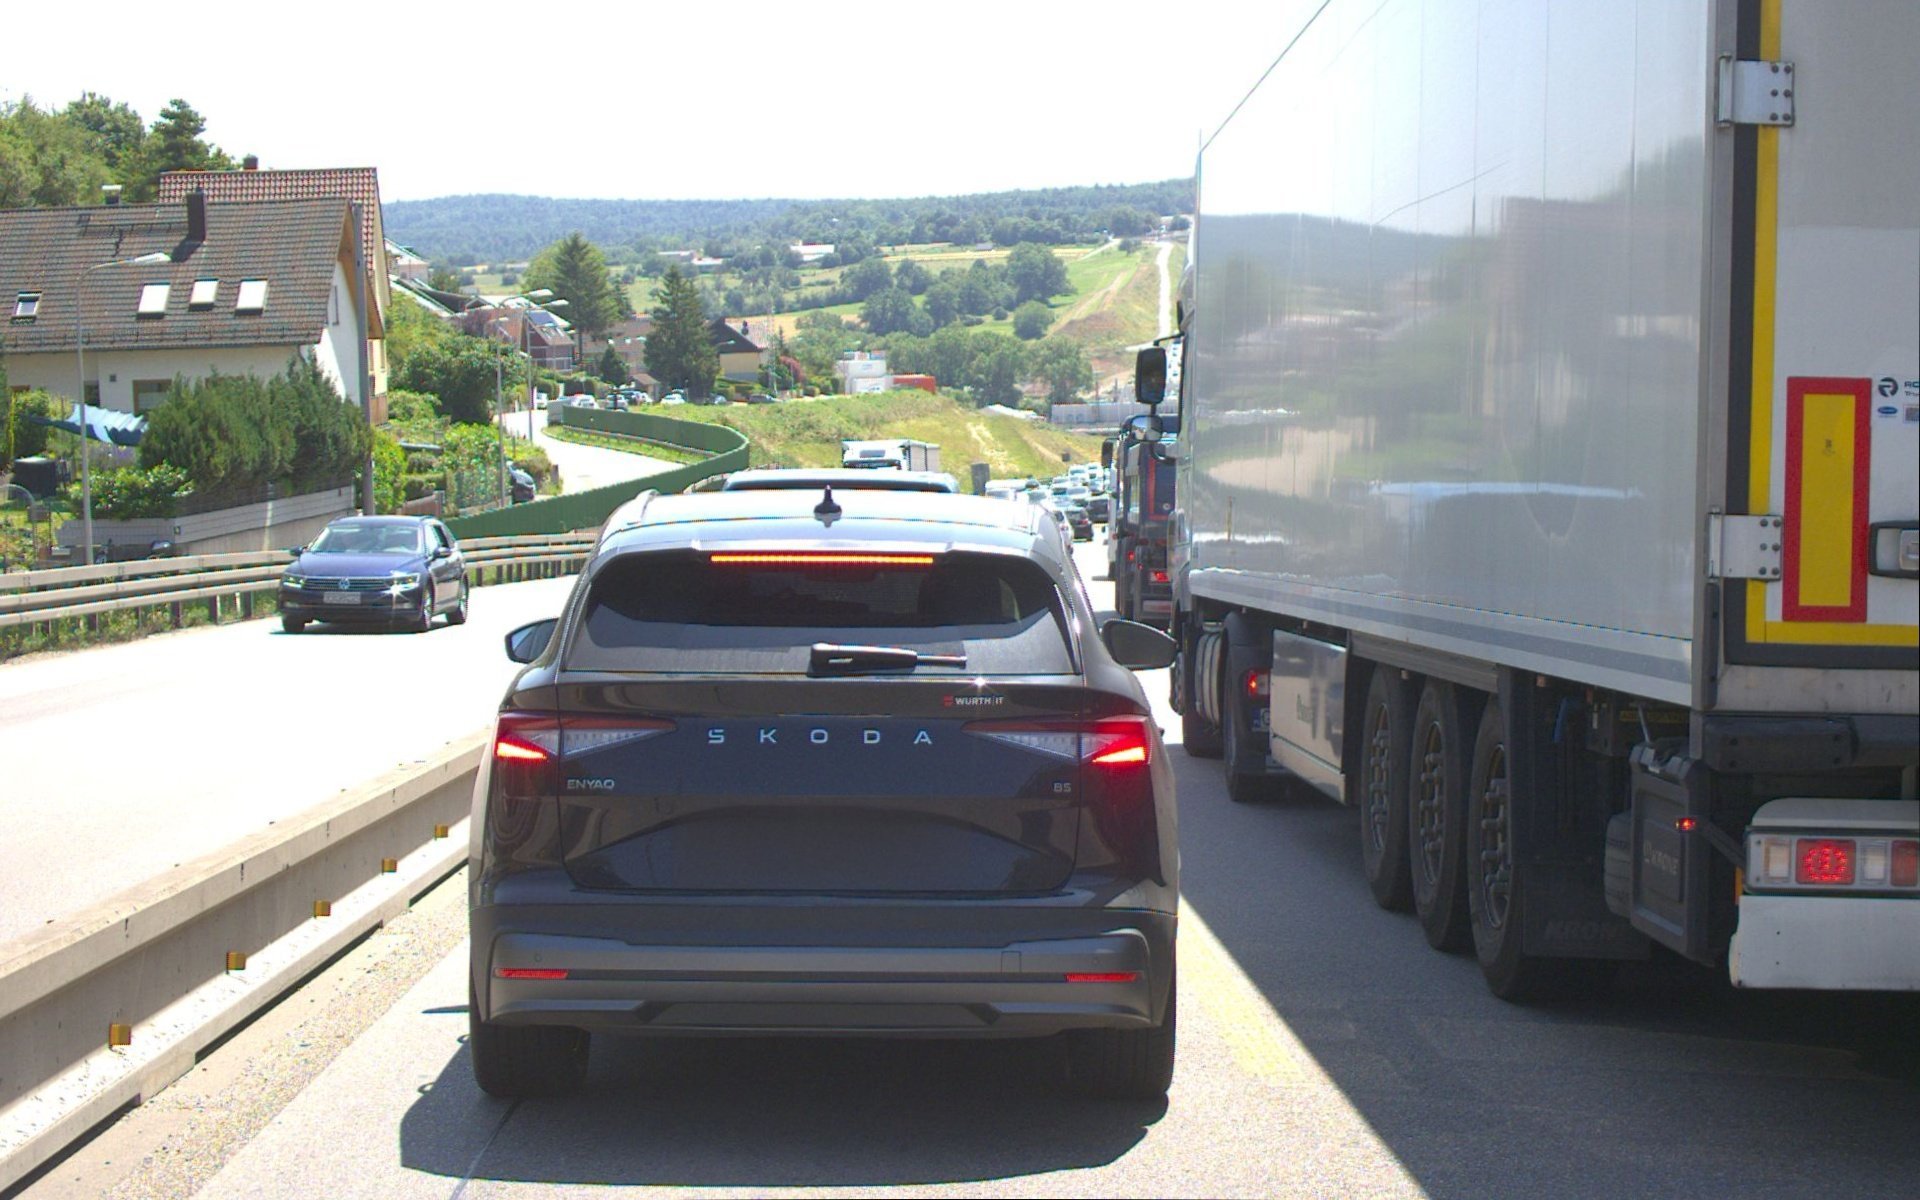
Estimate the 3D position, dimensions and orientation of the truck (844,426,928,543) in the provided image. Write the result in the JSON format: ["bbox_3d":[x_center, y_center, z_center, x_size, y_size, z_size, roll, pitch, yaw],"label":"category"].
[{"bbox_3d":[-2.755,-4.322,128.943,2.752,4.268,4.957,1,2,3],"label":"truck"}]

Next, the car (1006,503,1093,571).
[{"bbox_3d":[2.149,-1.507,83.383,1.993,1.579,3.836,1,0,0],"label":"car"}]

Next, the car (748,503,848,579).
[{"bbox_3d":[-3.089,-1.162,66.170,1.718,1.403,4.000,-1,2,0],"label":"car"}]

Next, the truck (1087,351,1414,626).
[{"bbox_3d":[3.639,-1.364,46.708,3.195,3.180,12.809,1,0,-1],"label":"truck"}]

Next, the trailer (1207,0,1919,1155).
[{"bbox_3d":[2.787,-0.846,13.496,2.531,4.113,11.549,1,0,-1],"label":"trailer"}]

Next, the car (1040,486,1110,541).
[{"bbox_3d":[3.467,-2.613,104.303,1.993,1.579,3.836,1,0,0],"label":"car"}]

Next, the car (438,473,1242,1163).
[{"bbox_3d":[-0.419,0.496,9.942,1.842,1.581,3.908,1,0,-4],"label":"car"}]

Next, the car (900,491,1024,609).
[{"bbox_3d":[-0.003,-0.765,50.259,1.707,1.616,4.001,1,2,-1],"label":"car"}]

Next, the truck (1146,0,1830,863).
[{"bbox_3d":[2.666,-0.844,20.021,2.513,4.011,8.238,1,0,-1],"label":"truck"}]

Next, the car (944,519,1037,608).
[{"bbox_3d":[0.580,-0.744,67.649,1.707,1.616,4.001,1,2,-1],"label":"car"}]

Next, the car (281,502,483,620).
[{"bbox_3d":[-7.356,-0.497,44.193,1.841,1.413,4.687,-1,0,-1],"label":"car"}]

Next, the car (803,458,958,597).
[{"bbox_3d":[-1.037,-0.935,42.927,1.706,1.616,4.001,1,2,-4],"label":"car"}]

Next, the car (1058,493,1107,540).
[{"bbox_3d":[4.672,-3.152,130.301,1.701,1.722,3.836,1,0,4],"label":"car"}]

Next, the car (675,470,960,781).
[{"bbox_3d":[-1.022,0.089,23.022,1.706,1.875,4.001,1,2,-4],"label":"car"}]

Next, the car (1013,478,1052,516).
[{"bbox_3d":[3.527,-5.004,167.282,1.701,1.722,3.836,1,0,4],"label":"car"}]

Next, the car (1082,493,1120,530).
[{"bbox_3d":[6.850,-4.282,167.007,1.701,1.722,3.836,1,0,4],"label":"car"}]
